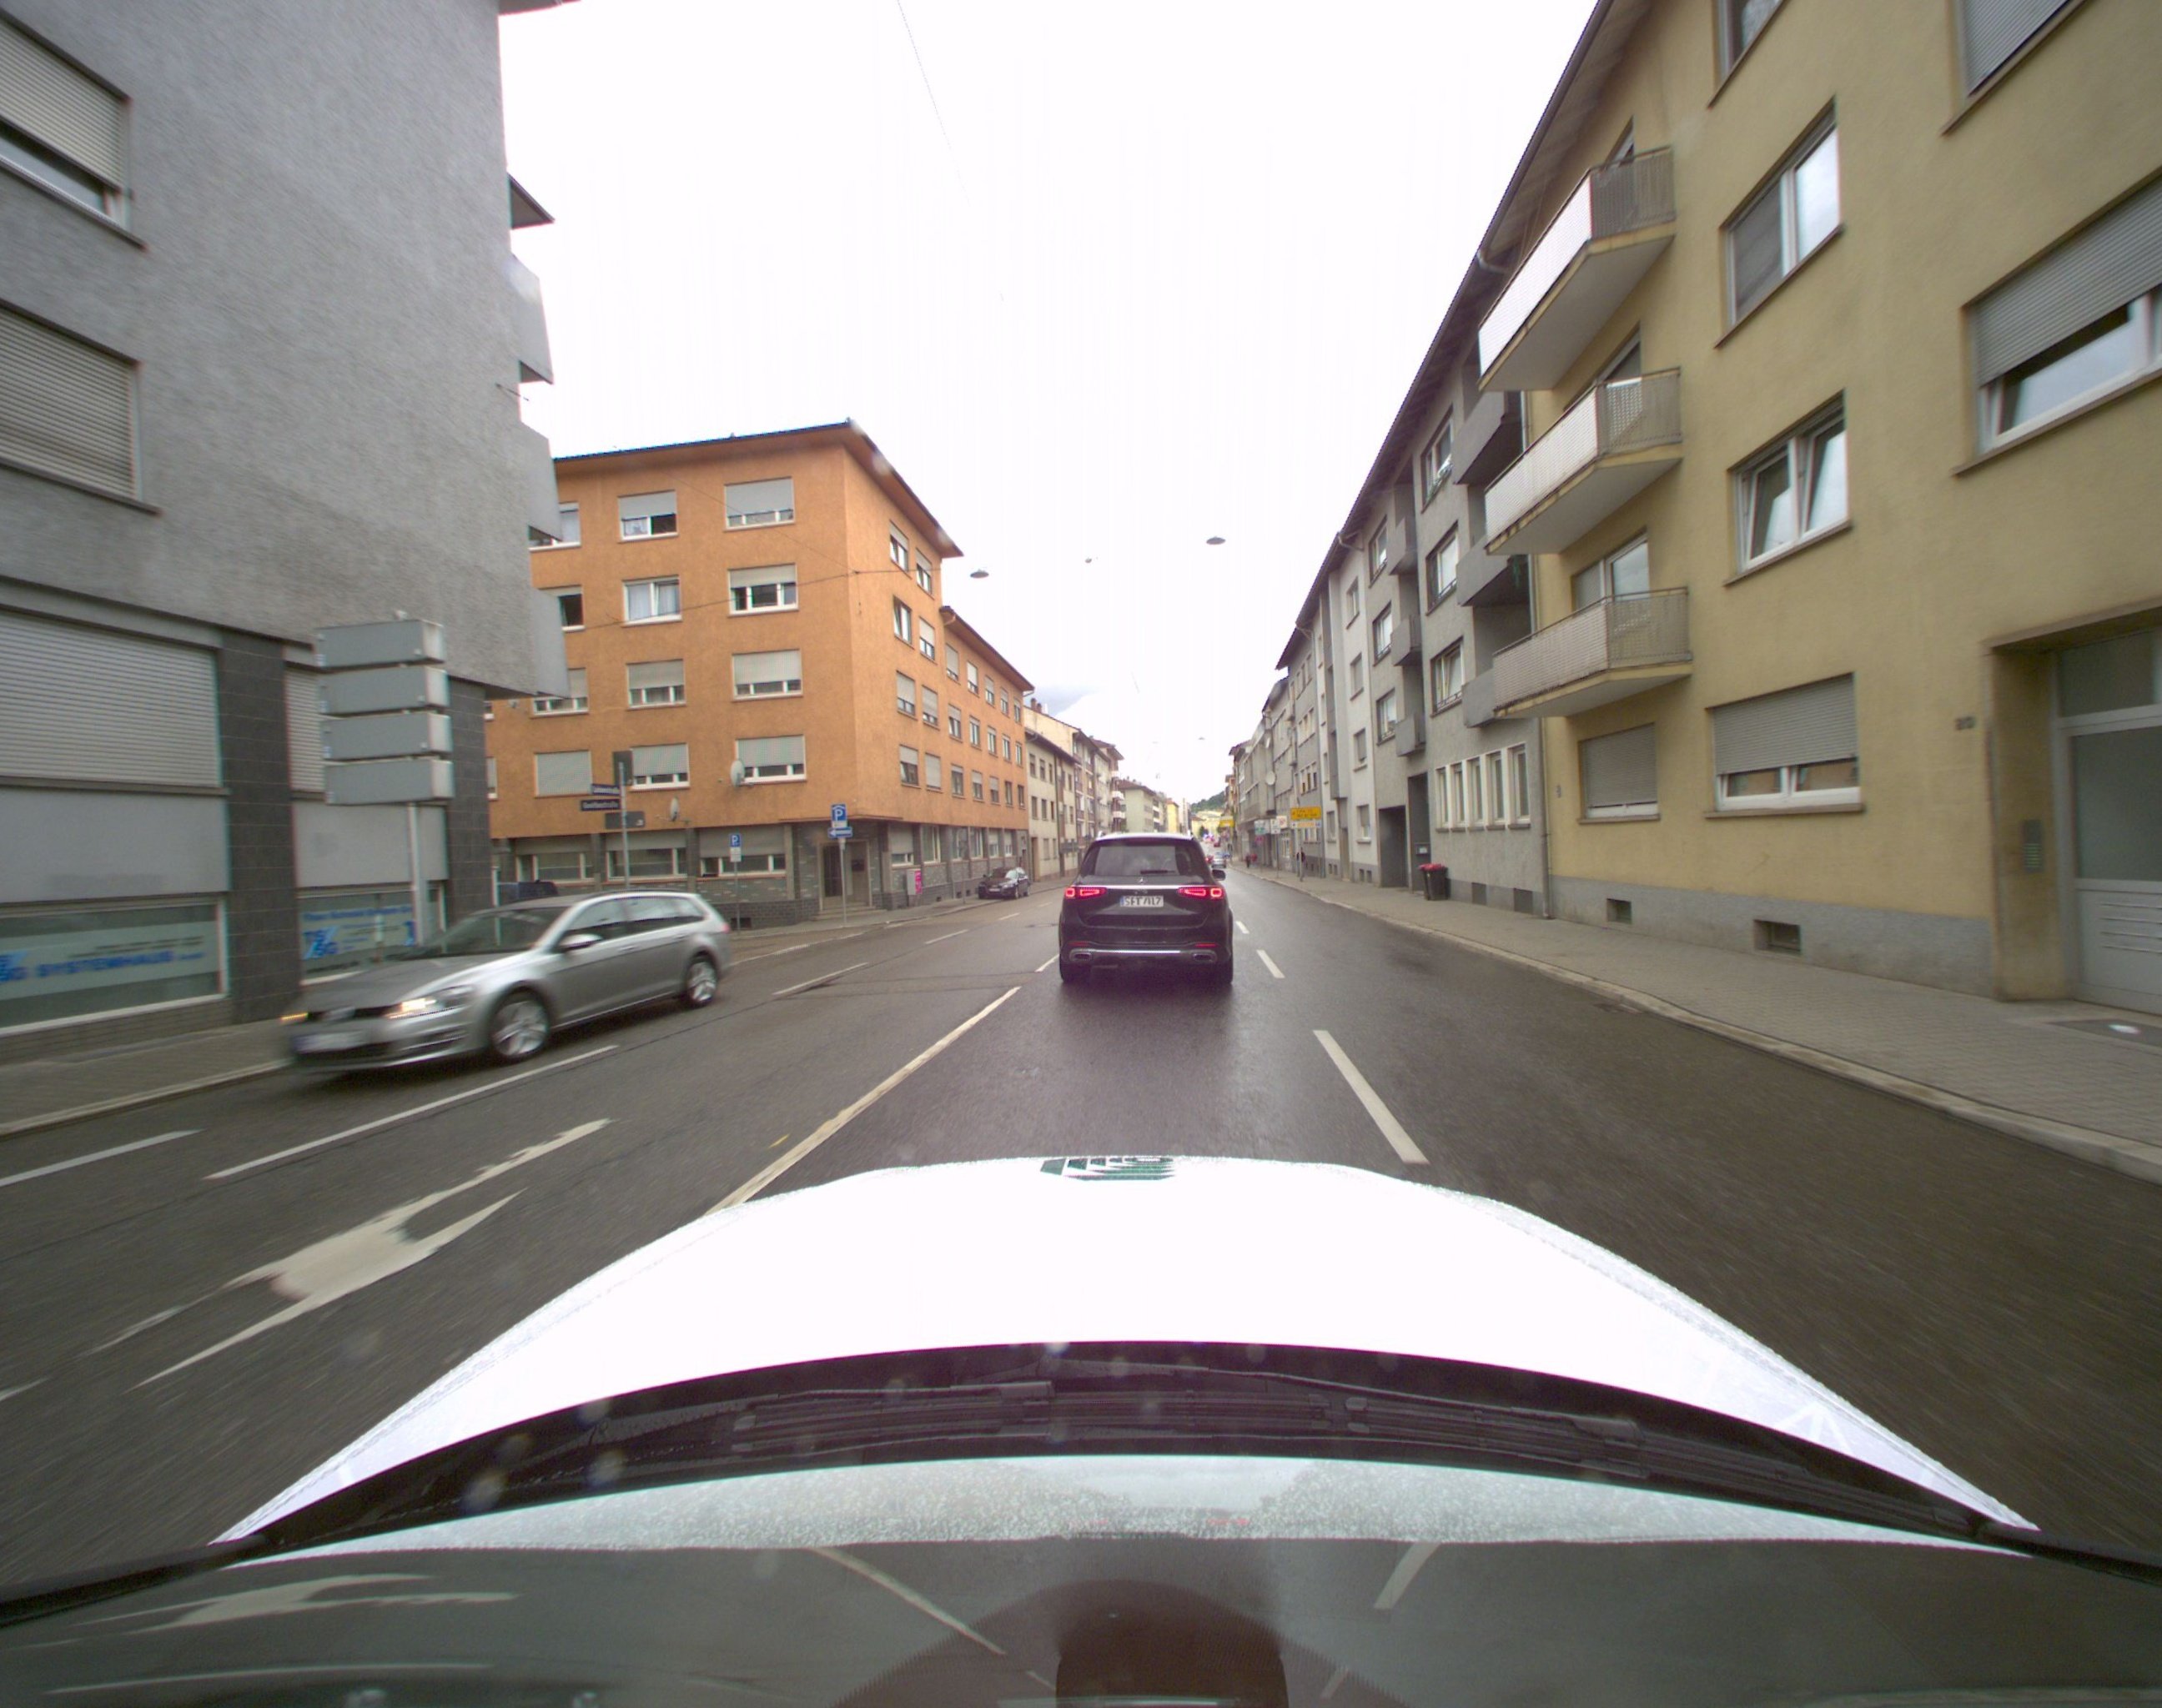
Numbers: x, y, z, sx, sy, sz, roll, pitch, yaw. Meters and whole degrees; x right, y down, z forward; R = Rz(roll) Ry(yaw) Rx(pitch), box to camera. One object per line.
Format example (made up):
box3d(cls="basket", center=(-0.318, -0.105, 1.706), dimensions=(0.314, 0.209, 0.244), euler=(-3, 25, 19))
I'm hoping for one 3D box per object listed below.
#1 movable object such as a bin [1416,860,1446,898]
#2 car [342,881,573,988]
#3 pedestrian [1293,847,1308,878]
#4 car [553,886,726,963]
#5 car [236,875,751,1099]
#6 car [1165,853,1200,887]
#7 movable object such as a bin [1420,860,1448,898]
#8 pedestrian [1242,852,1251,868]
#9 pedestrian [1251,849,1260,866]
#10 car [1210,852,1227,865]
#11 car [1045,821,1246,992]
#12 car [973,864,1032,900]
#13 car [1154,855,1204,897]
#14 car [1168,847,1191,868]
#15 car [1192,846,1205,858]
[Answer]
box3d(cls="movable object such as a bin", center=(9.635, 0.678, 22.426), dimensions=(0.559, 0.962, 0.476), euler=(-6, -1, 10))
box3d(cls="car", center=(-18.951, 2.396, 24.911), dimensions=(5.321, 2.458, 1.984), euler=(-7, 0, 2))
box3d(cls="pedestrian", center=(12.883, 0.474, 47.752), dimensions=(0.651, 1.752, 0.744), euler=(-5, -1, 12))
box3d(cls="car", center=(-13.059, 2.063, 24.213), dimensions=(3.965, 1.652, 1.934), euler=(-7, 0, 7))
box3d(cls="car", center=(-5.517, 1.114, 8.547), dimensions=(1.817, 1.416, 4.303), euler=(-6, 0, 7))
box3d(cls="car", center=(6.580, 0.996, 52.557), dimensions=(1.981, 2.013, 4.011), euler=(-2, 0, 10))
box3d(cls="movable object such as a bin", center=(9.494, 0.666, 21.894), dimensions=(0.470, 0.962, 0.566), euler=(-6, -1, 9))
box3d(cls="pedestrian", center=(16.403, 0.621, 80.552), dimensions=(0.816, 1.565, 0.902), euler=(-2, 0, 10))
box3d(cls="pedestrian", center=(17.242, 0.334, 80.416), dimensions=(0.816, 1.565, 0.902), euler=(-2, 0, 10))
box3d(cls="car", center=(15.953, 0.507, 94.686), dimensions=(1.725, 1.388, 4.591), euler=(-2, 0, 7))
box3d(cls="car", center=(0.939, 0.532, 10.933), dimensions=(2.065, 1.765, 4.620), euler=(-2, 1, 7))
box3d(cls="car", center=(-3.662, 1.279, 38.934), dimensions=(1.881, 1.458, 4.557), euler=(-2, 0, 6))
box3d(cls="car", center=(3.933, 0.839, 33.080), dimensions=(1.884, 1.510, 4.180), euler=(-1, 0, 5))
box3d(cls="car", center=(9.962, 0.317, 82.036), dimensions=(1.981, 2.013, 4.011), euler=(-2, 0, 10))
box3d(cls="car", center=(20.128, -0.382, 139.632), dimensions=(1.981, 2.013, 4.011), euler=(-2, 0, 10))
